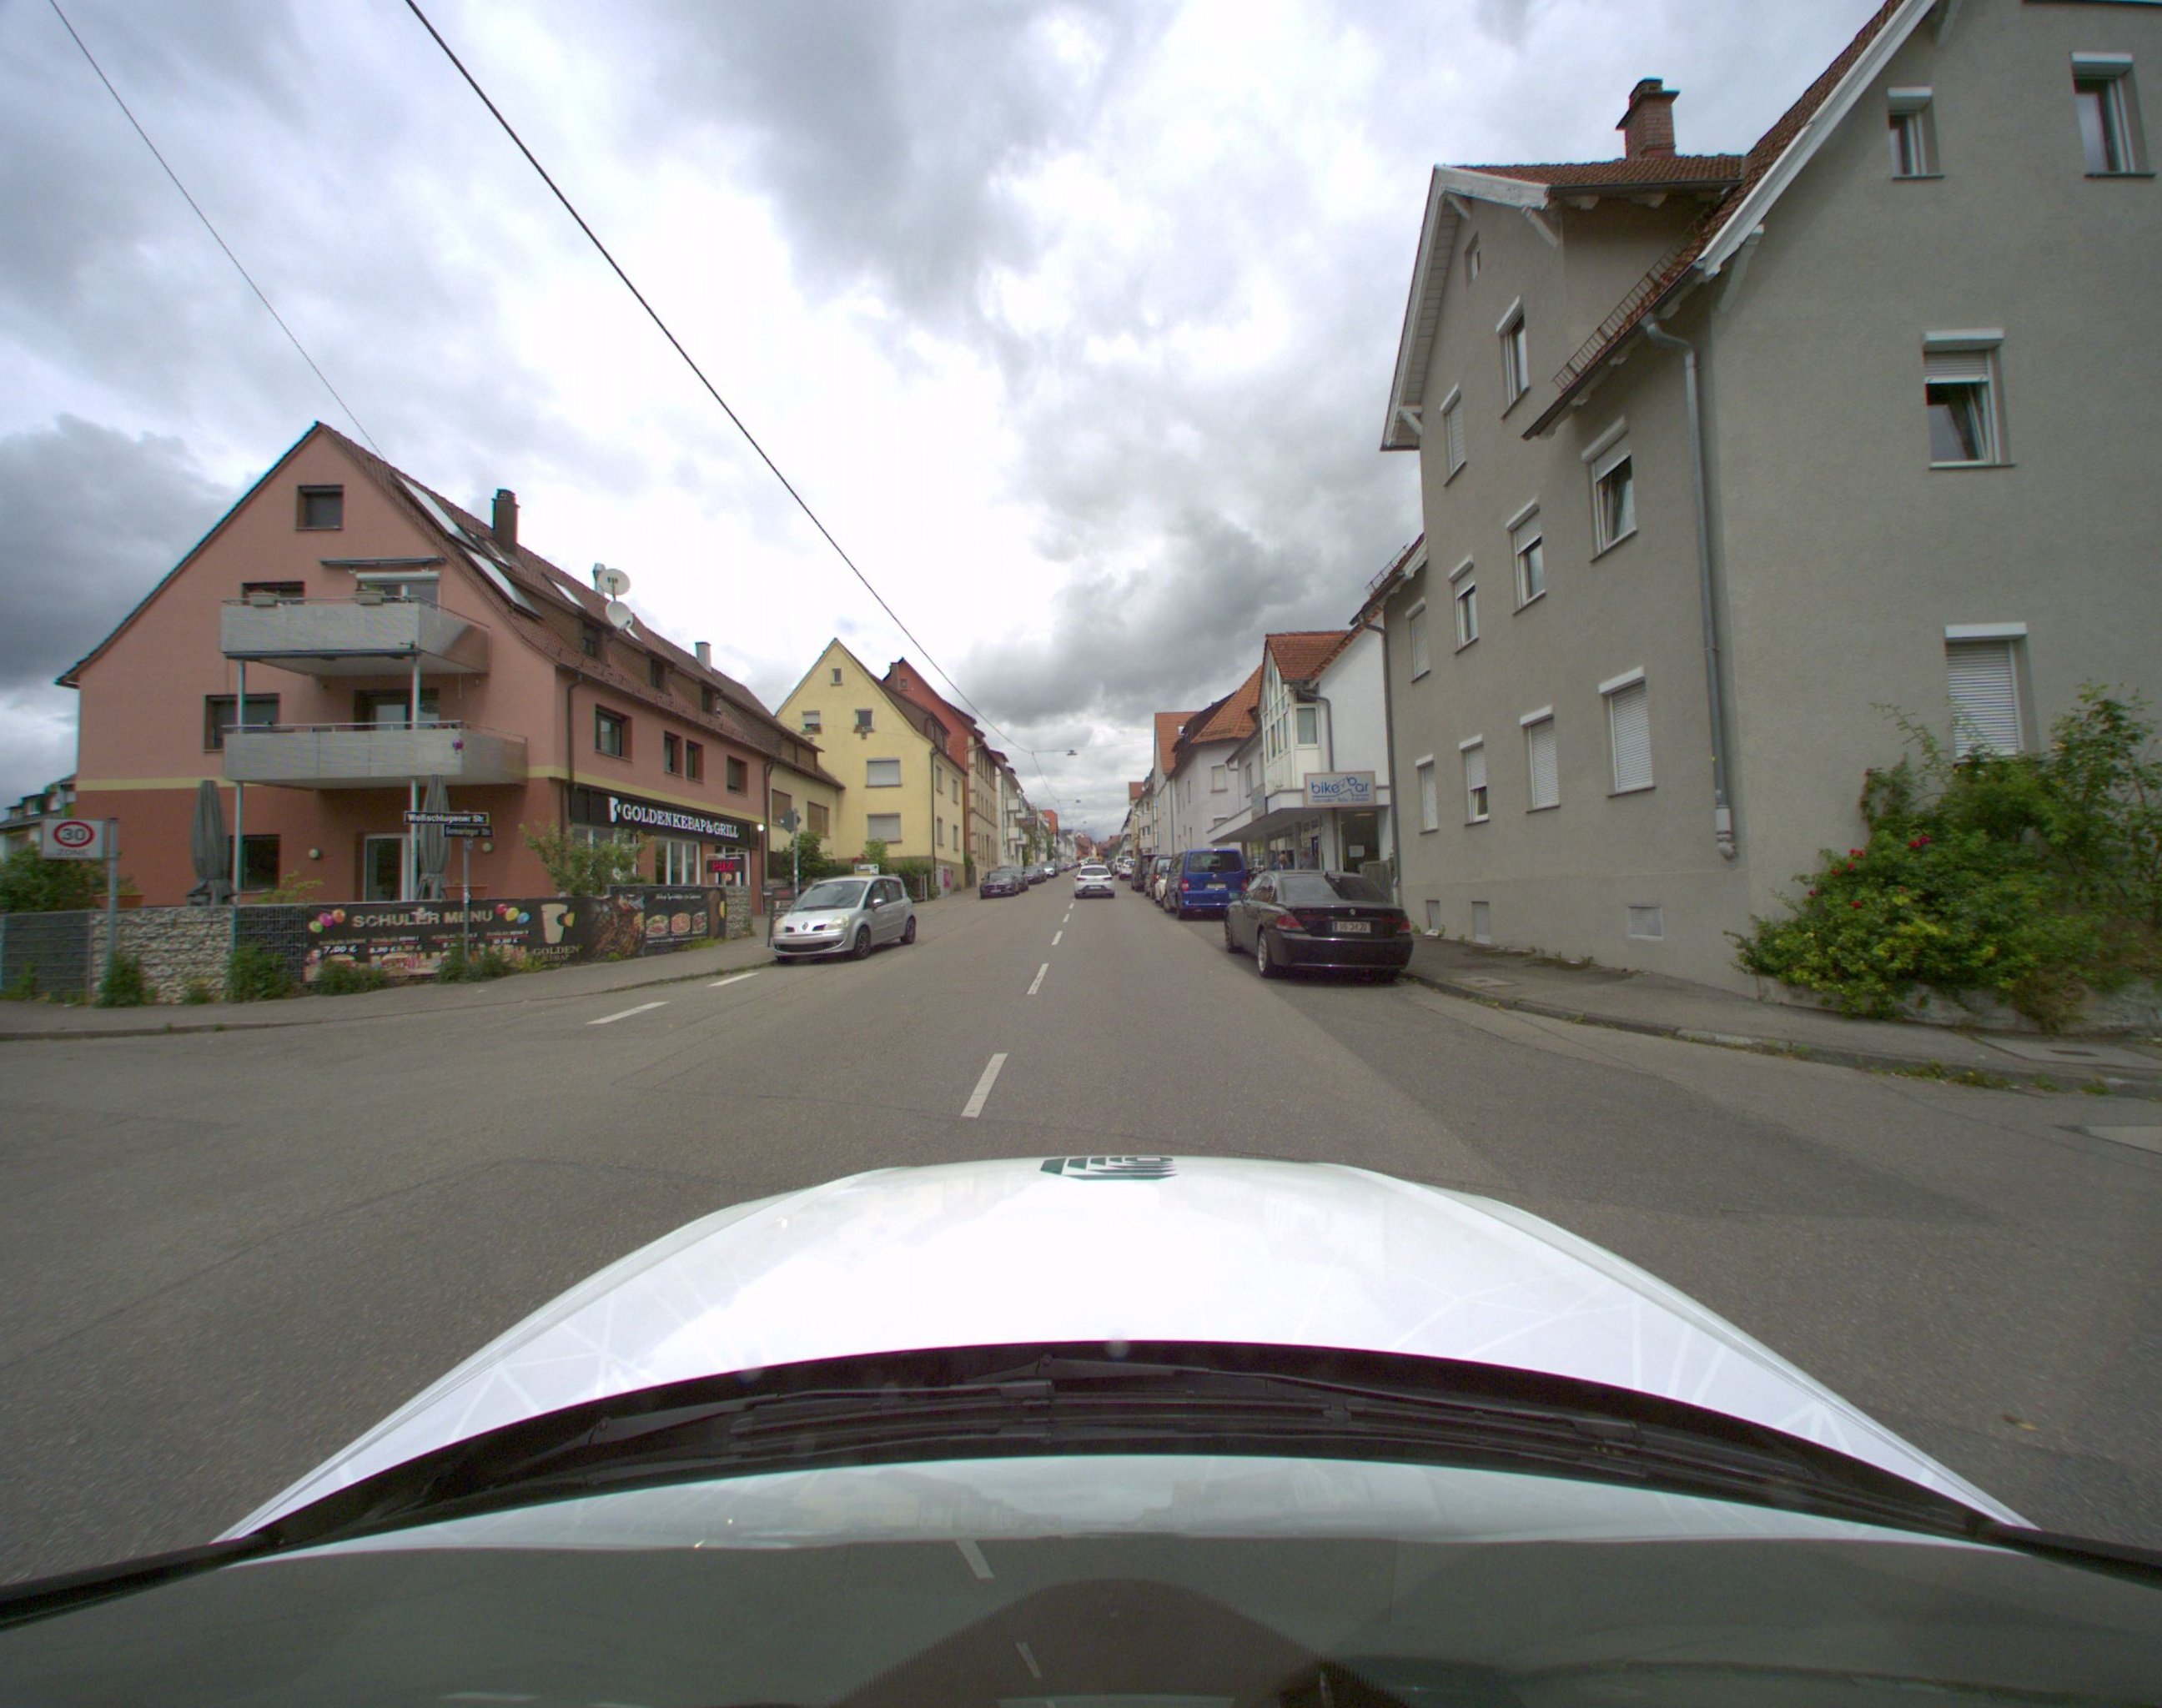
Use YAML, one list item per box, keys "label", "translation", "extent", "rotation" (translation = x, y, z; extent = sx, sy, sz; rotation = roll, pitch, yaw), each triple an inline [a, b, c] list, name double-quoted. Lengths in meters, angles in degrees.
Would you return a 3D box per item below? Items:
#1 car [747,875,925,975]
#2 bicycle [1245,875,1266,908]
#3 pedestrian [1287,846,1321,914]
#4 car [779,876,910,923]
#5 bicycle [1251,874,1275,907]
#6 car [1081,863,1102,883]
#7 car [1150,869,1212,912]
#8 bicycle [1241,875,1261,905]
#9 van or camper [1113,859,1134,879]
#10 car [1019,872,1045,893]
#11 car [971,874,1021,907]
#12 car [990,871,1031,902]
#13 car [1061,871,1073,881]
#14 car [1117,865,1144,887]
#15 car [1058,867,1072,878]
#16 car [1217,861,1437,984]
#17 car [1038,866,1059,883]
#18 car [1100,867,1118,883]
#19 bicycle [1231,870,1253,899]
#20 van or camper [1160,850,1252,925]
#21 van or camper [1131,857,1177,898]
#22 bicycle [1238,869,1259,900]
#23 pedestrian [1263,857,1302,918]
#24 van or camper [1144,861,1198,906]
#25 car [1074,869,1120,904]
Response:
- label: "car"
  translation: [-4.769, 1.327, 16.542]
  extent: [1.824, 1.578, 4.040]
  rotation: [-5, -2, 7]
- label: "bicycle"
  translation: [6.337, 1.363, 29.524]
  extent: [0.247, 1.113, 1.476]
  rotation: [-4, -1, 30]
- label: "pedestrian"
  translation: [6.727, 0.776, 24.590]
  extent: [0.752, 2.014, 0.623]
  rotation: [-3, -2, 35]
- label: "car"
  translation: [-8.801, 1.720, 30.541]
  extent: [4.214, 1.473, 2.000]
  rotation: [-3, -4, 1]
- label: "bicycle"
  translation: [6.487, 1.294, 29.015]
  extent: [0.335, 1.113, 1.476]
  rotation: [-4, -1, 30]
- label: "car"
  translation: [1.039, 1.932, 83.407]
  extent: [2.145, 2.014, 3.999]
  rotation: [-1, -1, 0]
- label: "car"
  translation: [3.574, 1.293, 29.832]
  extent: [1.708, 1.436, 4.638]
  rotation: [0, -1, 0]
- label: "bicycle"
  translation: [6.584, 1.383, 31.482]
  extent: [0.247, 1.113, 1.476]
  rotation: [-4, -1, 30]
- label: "van or camper"
  translation: [4.571, 1.664, 87.858]
  extent: [1.935, 2.055, 4.560]
  rotation: [-1, -1, -1]
- label: "car"
  translation: [-3.865, 2.255, 64.640]
  extent: [1.636, 1.473, 4.179]
  rotation: [-5, -1, 1]
- label: "car"
  translation: [-4.440, 1.875, 43.109]
  extent: [1.986, 1.472, 4.245]
  rotation: [-5, -1, 2]
- label: "car"
  translation: [-4.195, 1.923, 49.260]
  extent: [1.987, 1.651, 4.552]
  rotation: [-5, -1, 0]
- label: "car"
  translation: [-2.424, 3.995, 146.149]
  extent: [1.987, 1.651, 4.179]
  rotation: [-2, -1, 1]
- label: "car"
  translation: [3.940, 1.745, 65.696]
  extent: [1.935, 1.693, 3.998]
  rotation: [1, -1, -1]
- label: "car"
  translation: [-2.468, 2.876, 128.666]
  extent: [1.987, 1.651, 4.179]
  rotation: [-2, -1, 1]
- label: "car"
  translation: [3.489, 0.921, 12.649]
  extent: [1.987, 1.518, 4.891]
  rotation: [0, -1, 1]
- label: "car"
  translation: [-3.386, 2.099, 85.179]
  extent: [1.987, 1.651, 4.000]
  rotation: [-2, -1, 1]
- label: "car"
  translation: [3.534, 2.685, 104.536]
  extent: [1.988, 2.014, 3.996]
  rotation: [-2, -1, -2]
- label: "bicycle"
  translation: [6.502, 1.221, 32.770]
  extent: [0.294, 1.113, 1.586]
  rotation: [-4, -1, 30]
- label: "van or camper"
  translation: [3.527, 0.926, 23.928]
  extent: [1.920, 1.926, 4.829]
  rotation: [-1, -1, 0]
- label: "van or camper"
  translation: [3.829, 1.234, 43.528]
  extent: [1.987, 2.066, 5.944]
  rotation: [0, -1, 1]
- label: "bicycle"
  translation: [6.645, 1.204, 32.305]
  extent: [0.247, 1.160, 1.476]
  rotation: [-4, -2, 33]
- label: "pedestrian"
  translation: [5.769, 0.950, 23.360]
  extent: [0.862, 1.725, 0.623]
  rotation: [-3, -2, 35]
- label: "van or camper"
  translation: [3.877, 1.260, 35.837]
  extent: [1.865, 1.829, 4.679]
  rotation: [0, -1, 0]
- label: "car"
  translation: [0.692, 1.422, 36.453]
  extent: [1.934, 1.439, 3.999]
  rotation: [-1, -1, 0]
